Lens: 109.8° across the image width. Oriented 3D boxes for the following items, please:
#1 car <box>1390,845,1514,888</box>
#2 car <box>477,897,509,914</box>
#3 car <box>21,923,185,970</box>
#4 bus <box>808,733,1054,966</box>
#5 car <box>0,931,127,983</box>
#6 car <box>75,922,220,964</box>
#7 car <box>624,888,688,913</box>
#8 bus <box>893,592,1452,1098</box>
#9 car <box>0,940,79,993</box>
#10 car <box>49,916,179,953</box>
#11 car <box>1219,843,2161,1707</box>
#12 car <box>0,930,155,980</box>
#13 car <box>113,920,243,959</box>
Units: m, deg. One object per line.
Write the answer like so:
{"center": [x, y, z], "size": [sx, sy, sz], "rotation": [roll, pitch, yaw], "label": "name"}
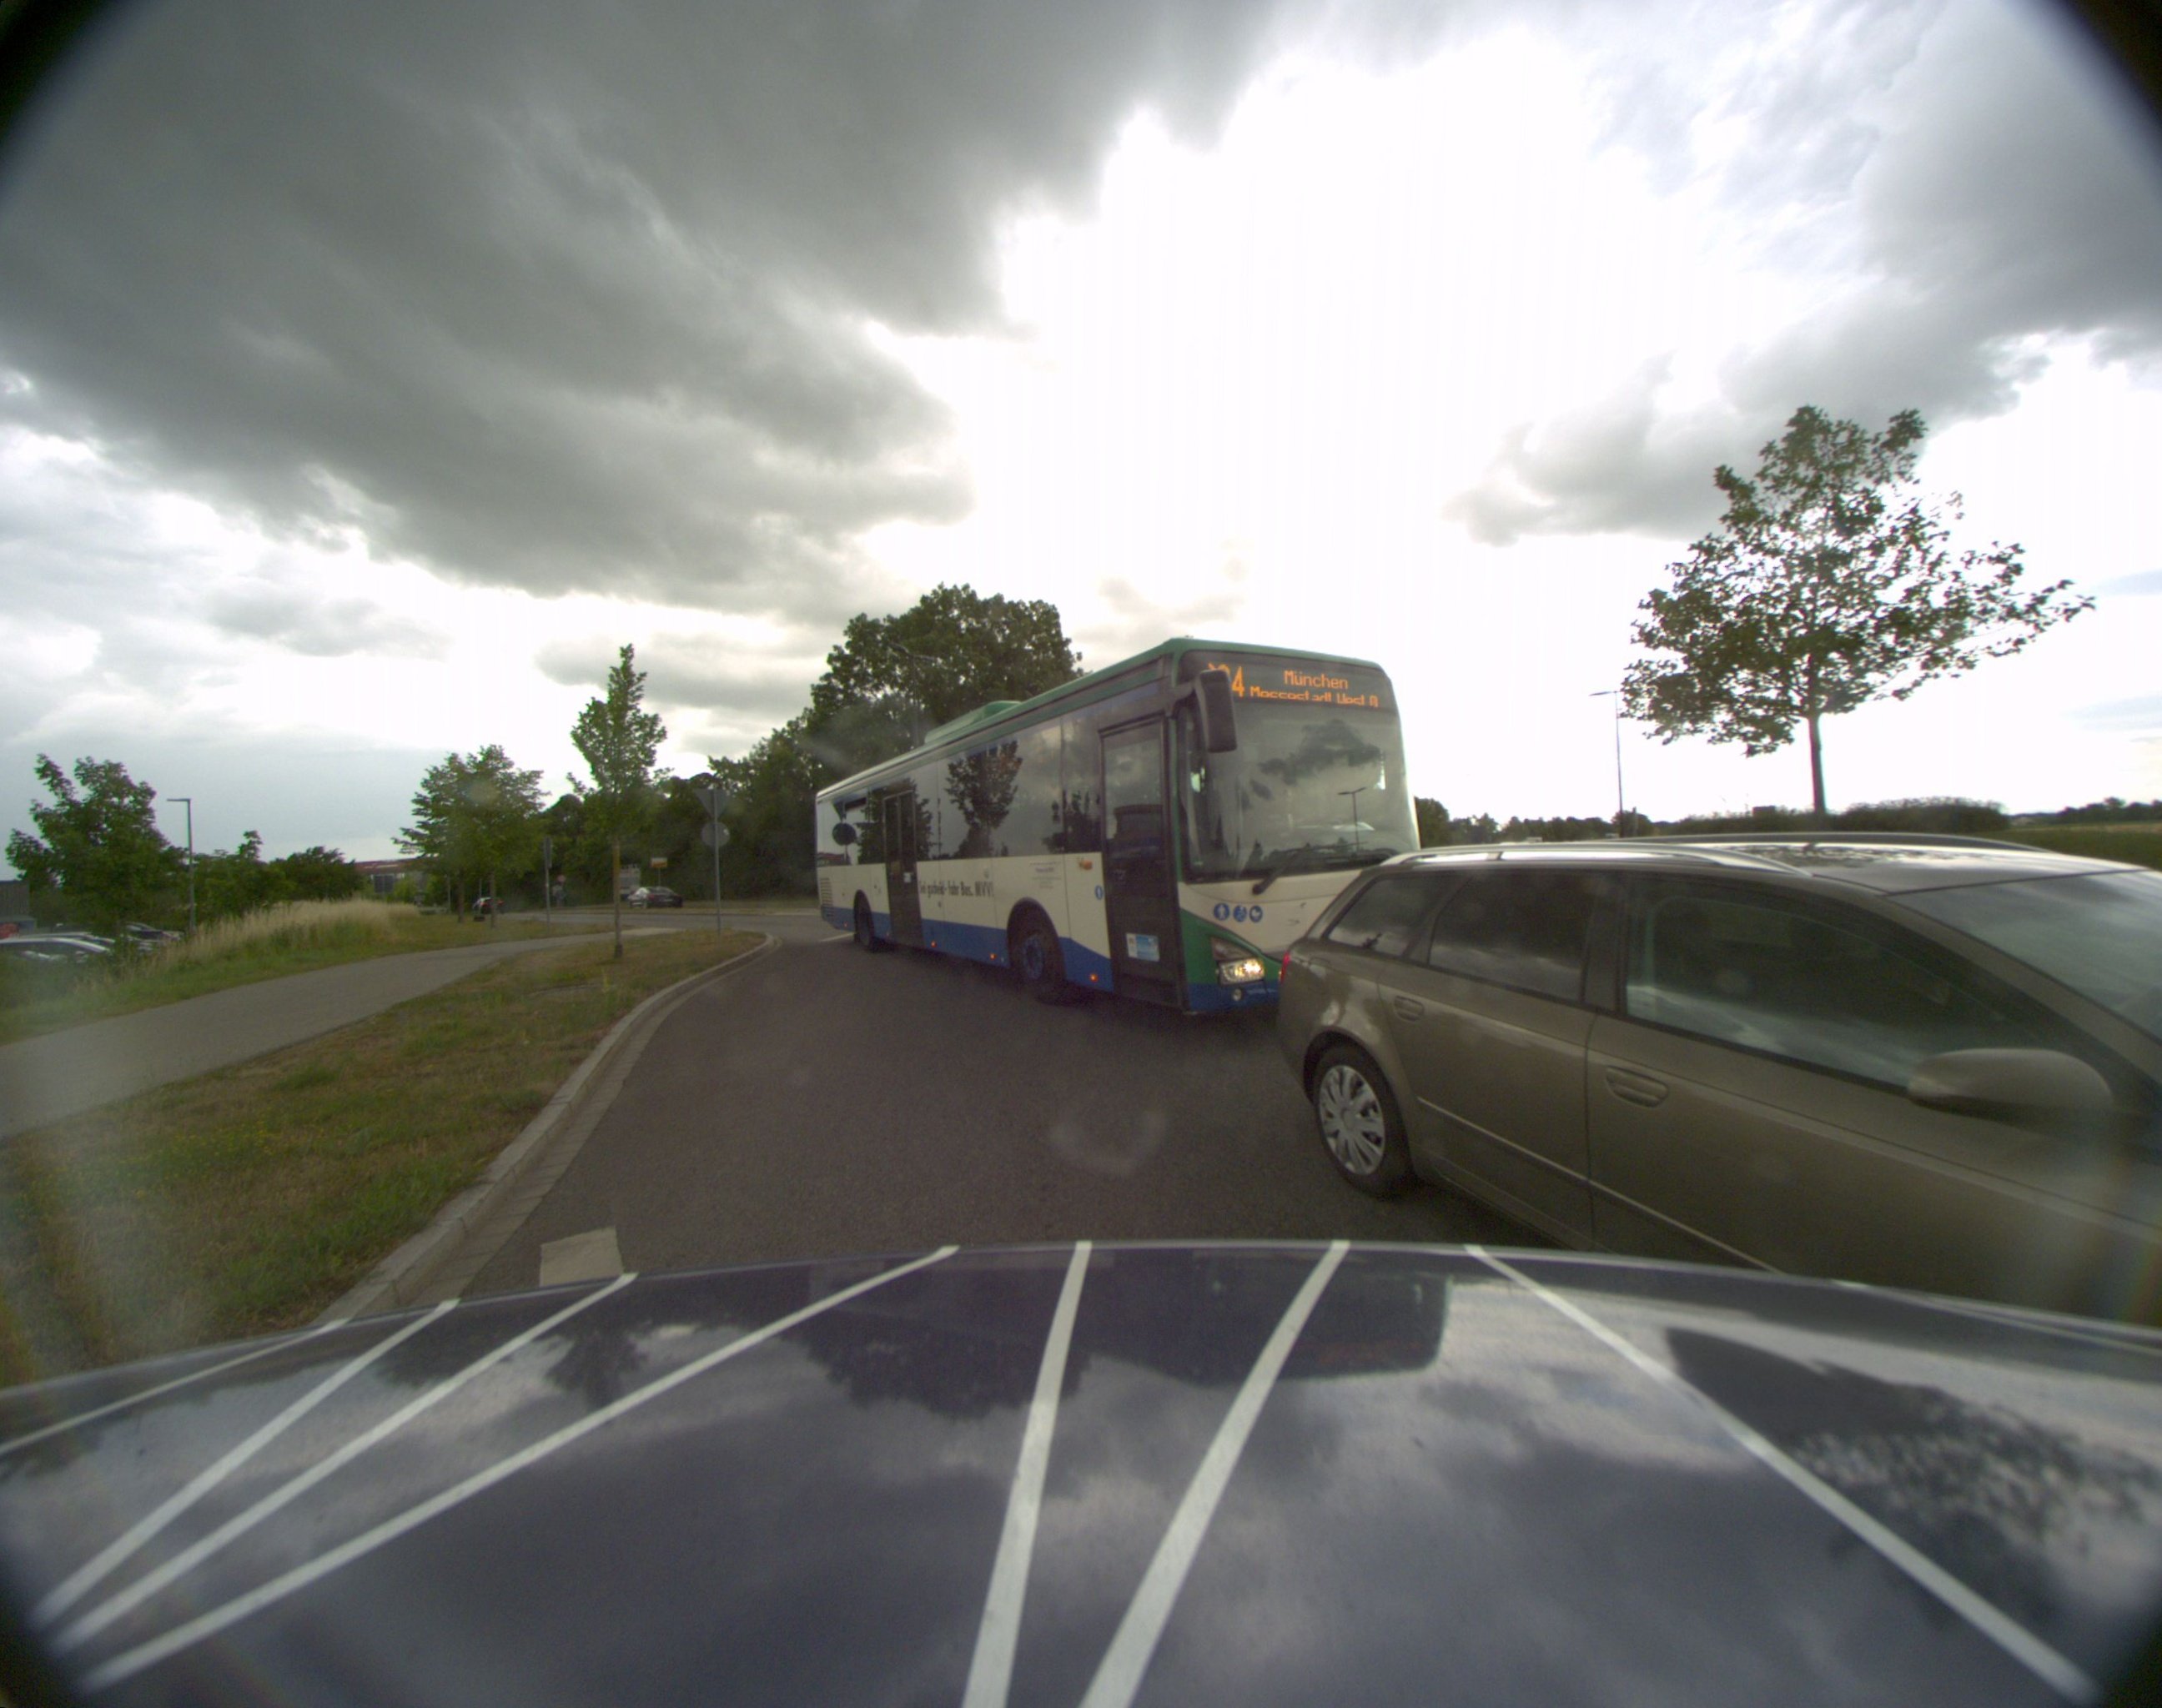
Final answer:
{"center": [15.513, 0.486, 31.667], "size": [5.294, 1.489, 1.969], "rotation": [-2, 0, -30], "label": "car"}
{"center": [-55.640, 4.856, 71.886], "size": [3.572, 1.496, 1.647], "rotation": [-3, 0, 42], "label": "car"}
{"center": [-41.205, 3.874, 32.163], "size": [3.896, 1.455, 1.693], "rotation": [-2, 0, -36], "label": "car"}
{"center": [-2.944, -0.089, 13.580], "size": [2.529, 3.239, 5.447], "rotation": [-2, 1, -31], "label": "bus"}
{"center": [-37.504, 3.722, 27.144], "size": [3.896, 1.455, 1.693], "rotation": [-2, 0, -36], "label": "car"}
{"center": [-43.216, 4.096, 35.314], "size": [3.896, 1.455, 1.693], "rotation": [-2, 0, -36], "label": "car"}
{"center": [-23.944, 2.605, 42.750], "size": [4.103, 1.299, 1.835], "rotation": [-3, -1, 42], "label": "car"}
{"center": [0.231, -0.075, 8.312], "size": [2.529, 3.239, 6.532], "rotation": [-2, 1, -31], "label": "bus"}
{"center": [-34.872, 3.664, 23.772], "size": [3.896, 1.455, 1.693], "rotation": [-2, 0, -36], "label": "car"}
{"center": [-49.425, 4.084, 38.958], "size": [1.879, 1.435, 4.008], "rotation": [-2, 0, 39], "label": "car"}
{"center": [2.237, 0.764, 2.012], "size": [1.784, 1.457, 4.533], "rotation": [-4, 2, -16], "label": "car"}
{"center": [-39.424, 3.925, 29.590], "size": [3.896, 1.455, 1.693], "rotation": [-2, 0, -36], "label": "car"}
{"center": [-45.566, 4.290, 38.481], "size": [3.896, 1.455, 1.693], "rotation": [-2, 0, -36], "label": "car"}
